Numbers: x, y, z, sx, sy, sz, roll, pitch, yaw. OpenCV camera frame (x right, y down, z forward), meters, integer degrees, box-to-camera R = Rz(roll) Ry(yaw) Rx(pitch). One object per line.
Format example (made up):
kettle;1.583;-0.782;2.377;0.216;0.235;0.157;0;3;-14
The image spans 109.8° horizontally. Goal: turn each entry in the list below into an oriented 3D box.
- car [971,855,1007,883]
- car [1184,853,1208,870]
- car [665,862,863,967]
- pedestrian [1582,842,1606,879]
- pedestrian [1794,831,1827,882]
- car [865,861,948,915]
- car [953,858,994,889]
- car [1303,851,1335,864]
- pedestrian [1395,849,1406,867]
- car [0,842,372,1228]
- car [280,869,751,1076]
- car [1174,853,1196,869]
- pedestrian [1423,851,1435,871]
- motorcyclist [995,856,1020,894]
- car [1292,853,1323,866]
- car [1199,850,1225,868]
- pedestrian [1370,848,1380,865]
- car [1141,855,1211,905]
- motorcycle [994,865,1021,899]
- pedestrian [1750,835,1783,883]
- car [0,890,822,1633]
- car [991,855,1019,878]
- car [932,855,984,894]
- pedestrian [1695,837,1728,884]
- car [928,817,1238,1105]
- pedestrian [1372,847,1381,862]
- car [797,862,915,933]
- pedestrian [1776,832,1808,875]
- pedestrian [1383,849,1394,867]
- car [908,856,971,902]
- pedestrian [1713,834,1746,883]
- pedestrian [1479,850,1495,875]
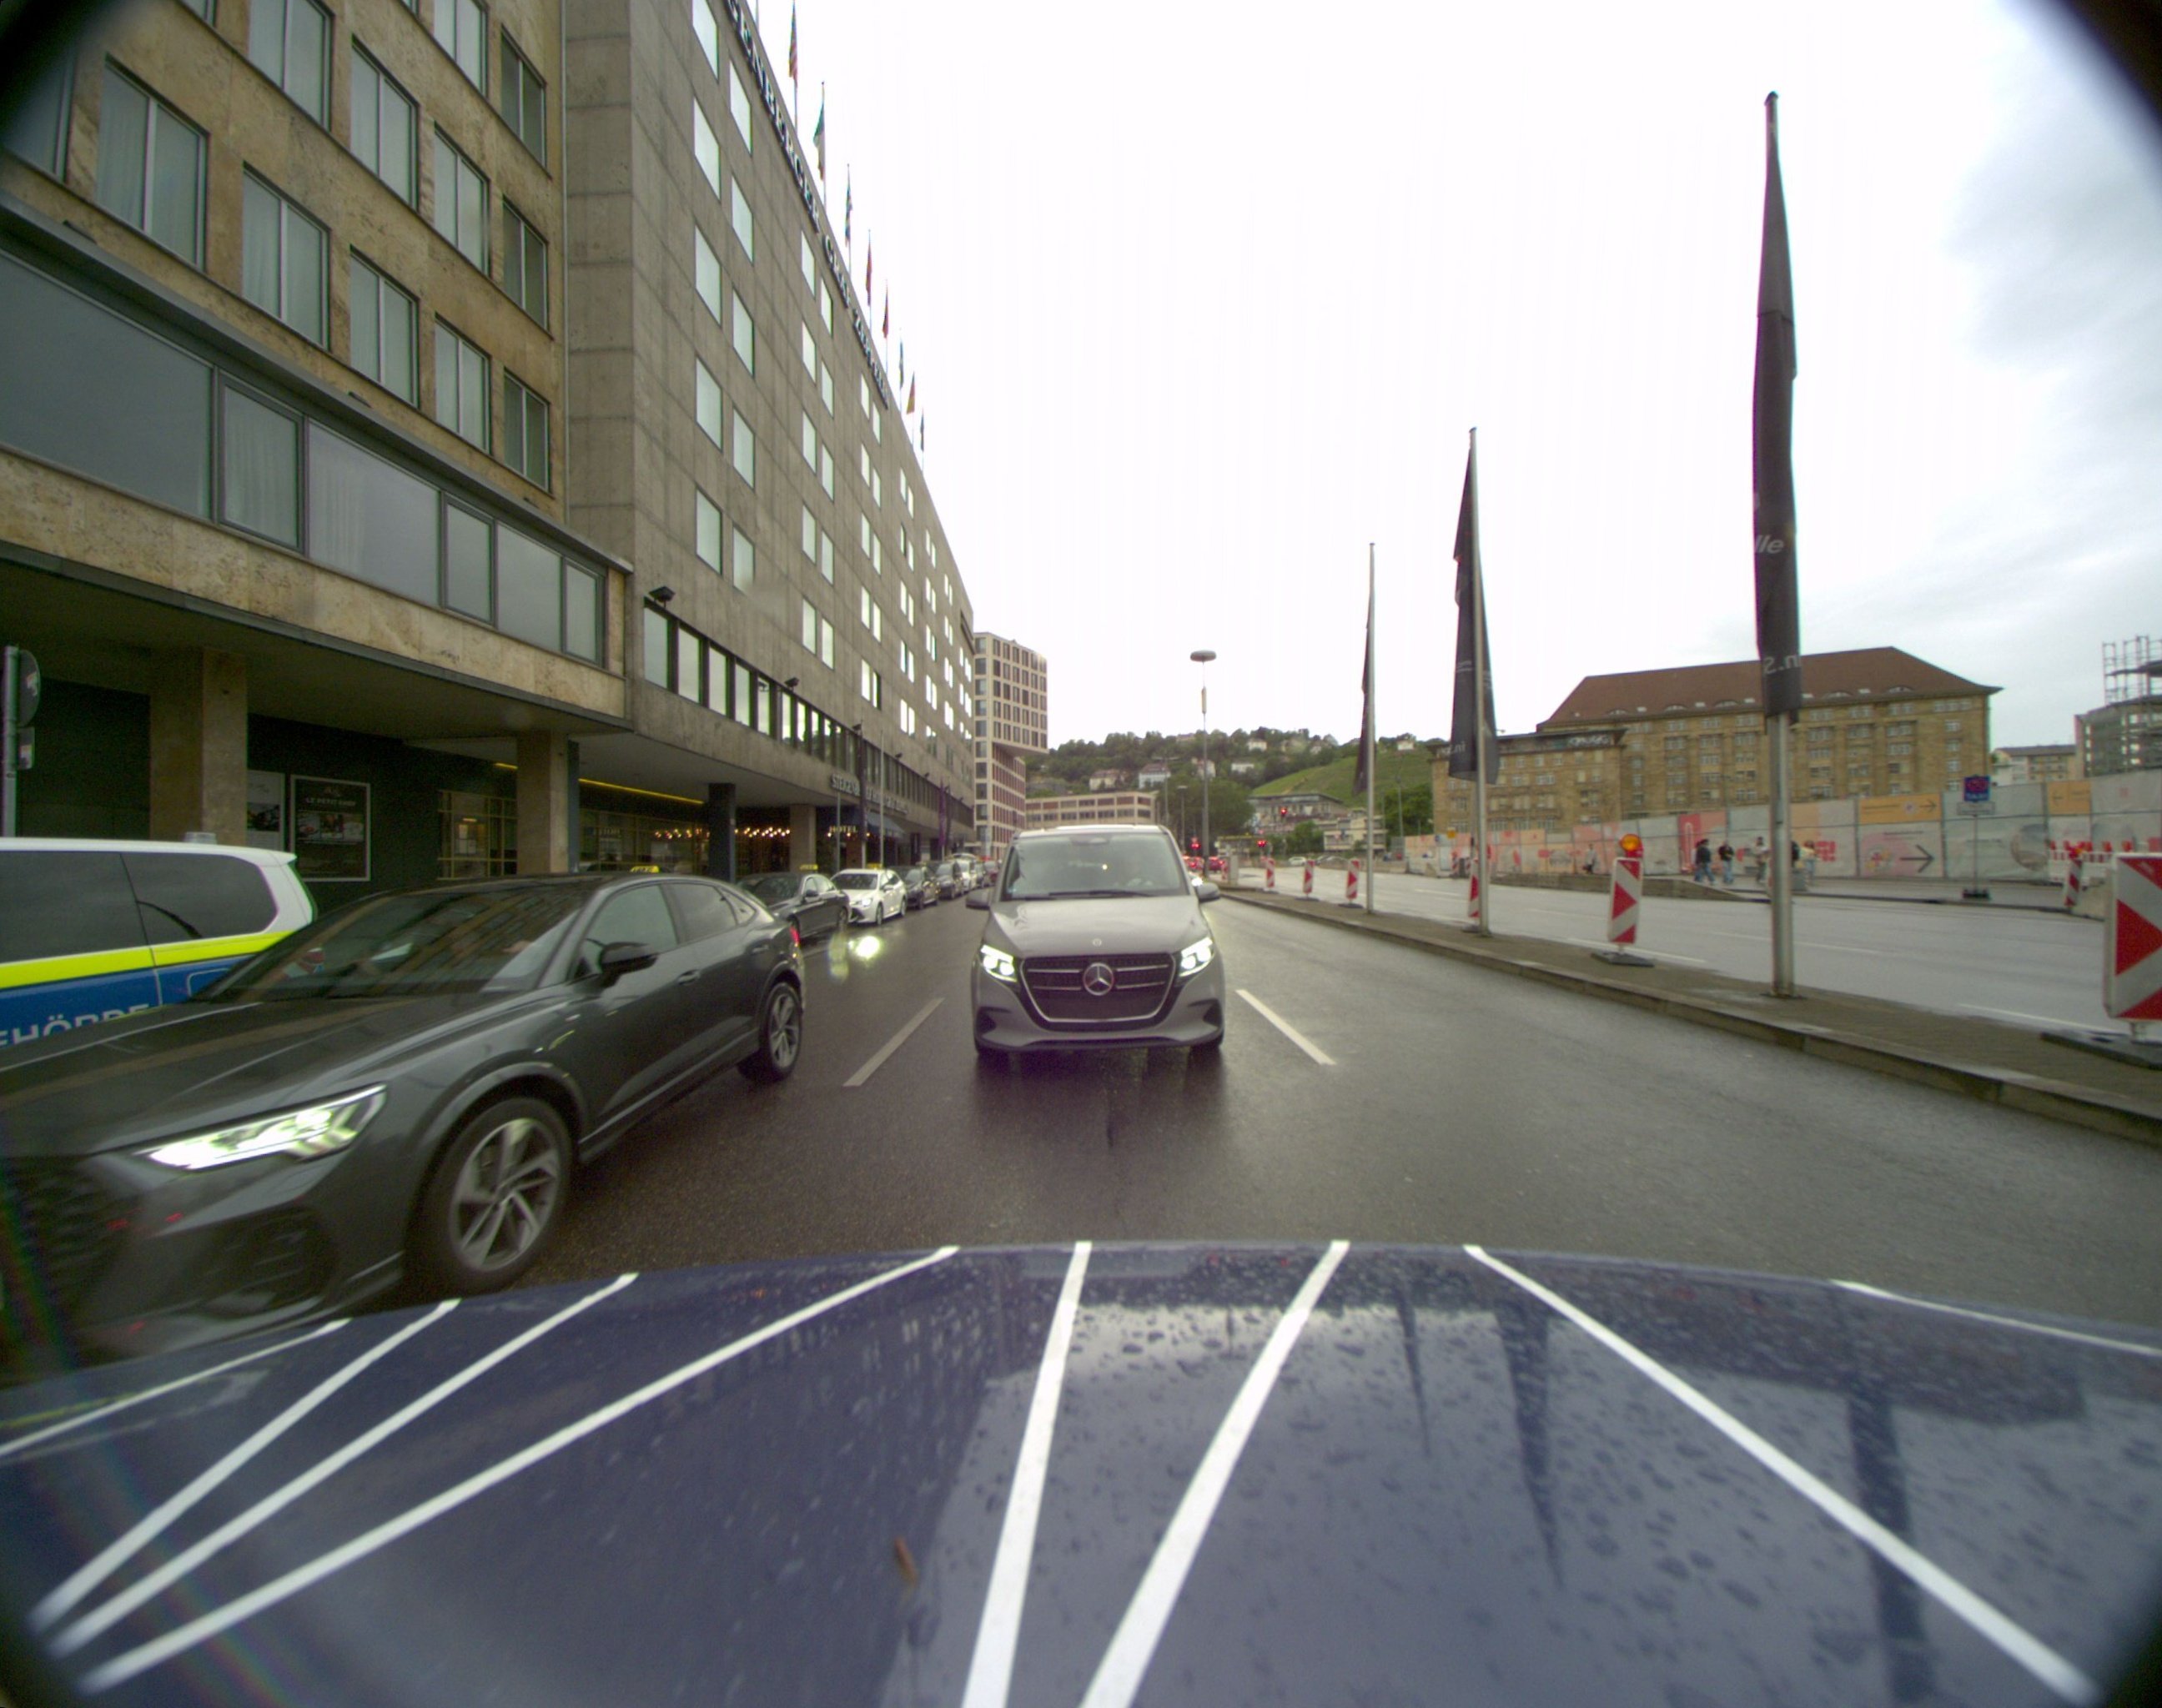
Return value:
car;-5.869;0.917;48.908;1.731;1.604;4.001;-2;1;0
car;12.107;0.782;80.148;1.785;1.684;3.916;-2;1;-1
car;-6.072;1.051;15.311;1.879;1.628;4.814;-2;1;0
pedestrian;26.194;0.337;38.791;0.664;1.825;0.720;-2;1;1
pedestrian;26.224;0.087;27.305;0.661;1.825;0.556;-2;1;21
car;-6.042;1.122;26.854;1.731;1.583;4.814;-2;1;0
car;-6.122;1.068;43.729;1.731;1.604;4.001;-2;1;0
car;32.355;0.444;103.370;3.993;1.622;2.002;-1;0;14
pedestrian;28.957;0.374;68.838;0.715;1.606;0.544;-2;1;1
car;-6.321;0.935;3.225;1.879;1.909;4.935;-2;1;0
car;-6.090;1.100;9.227;1.879;1.628;5.010;-2;1;0
car;11.828;0.741;86.657;1.785;1.684;3.916;-2;1;-1
pedestrian;28.957;0.557;63.288;0.715;1.606;0.544;-2;1;1
motorcyclist;-3.044;0.861;31.518;0.861;1.519;0.844;-2;1;1
car;35.037;0.817;117.554;4.194;1.846;1.832;-2;1;6
car;12.420;0.446;72.294;1.785;1.684;3.916;-1;0;0
pedestrian;29.748;0.240;76.841;0.715;1.606;0.544;-2;1;1
car;3.183;0.828;26.241;1.860;1.461;4.587;-2;1;1
motorcycle;-3.034;1.128;31.526;0.848;1.299;1.965;-2;1;1
pedestrian;25.405;0.173;28.164;0.714;1.734;0.564;-2;1;21
car;-3.103;1.093;3.954;1.883;1.493;4.342;-2;1;1
car;-5.900;0.968;59.228;1.731;1.604;4.001;-2;1;0
car;-6.087;0.959;38.222;1.731;1.732;4.814;-2;1;0
pedestrian;23.722;0.234;28.606;0.714;1.723;0.718;-2;1;19
car;0.054;0.699;7.646;1.998;1.849;5.160;-2;1;1
pedestrian;31.997;0.032;82.176;0.715;1.606;0.544;-2;1;1
car;-6.039;1.092;21.039;1.731;1.583;4.814;-2;1;0
pedestrian;27.524;-0.029;29.419;0.715;1.606;0.544;-2;1;1
pedestrian;28.474;0.354;70.413;0.715;1.606;0.544;-2;1;1
car;-6.049;0.999;33.025;1.731;1.732;4.814;-2;1;0
pedestrian;25.002;0.162;29.306;0.714;1.825;0.718;-2;1;19
pedestrian;26.760;0.585;50.044;0.715;1.606;0.544;-2;1;1
